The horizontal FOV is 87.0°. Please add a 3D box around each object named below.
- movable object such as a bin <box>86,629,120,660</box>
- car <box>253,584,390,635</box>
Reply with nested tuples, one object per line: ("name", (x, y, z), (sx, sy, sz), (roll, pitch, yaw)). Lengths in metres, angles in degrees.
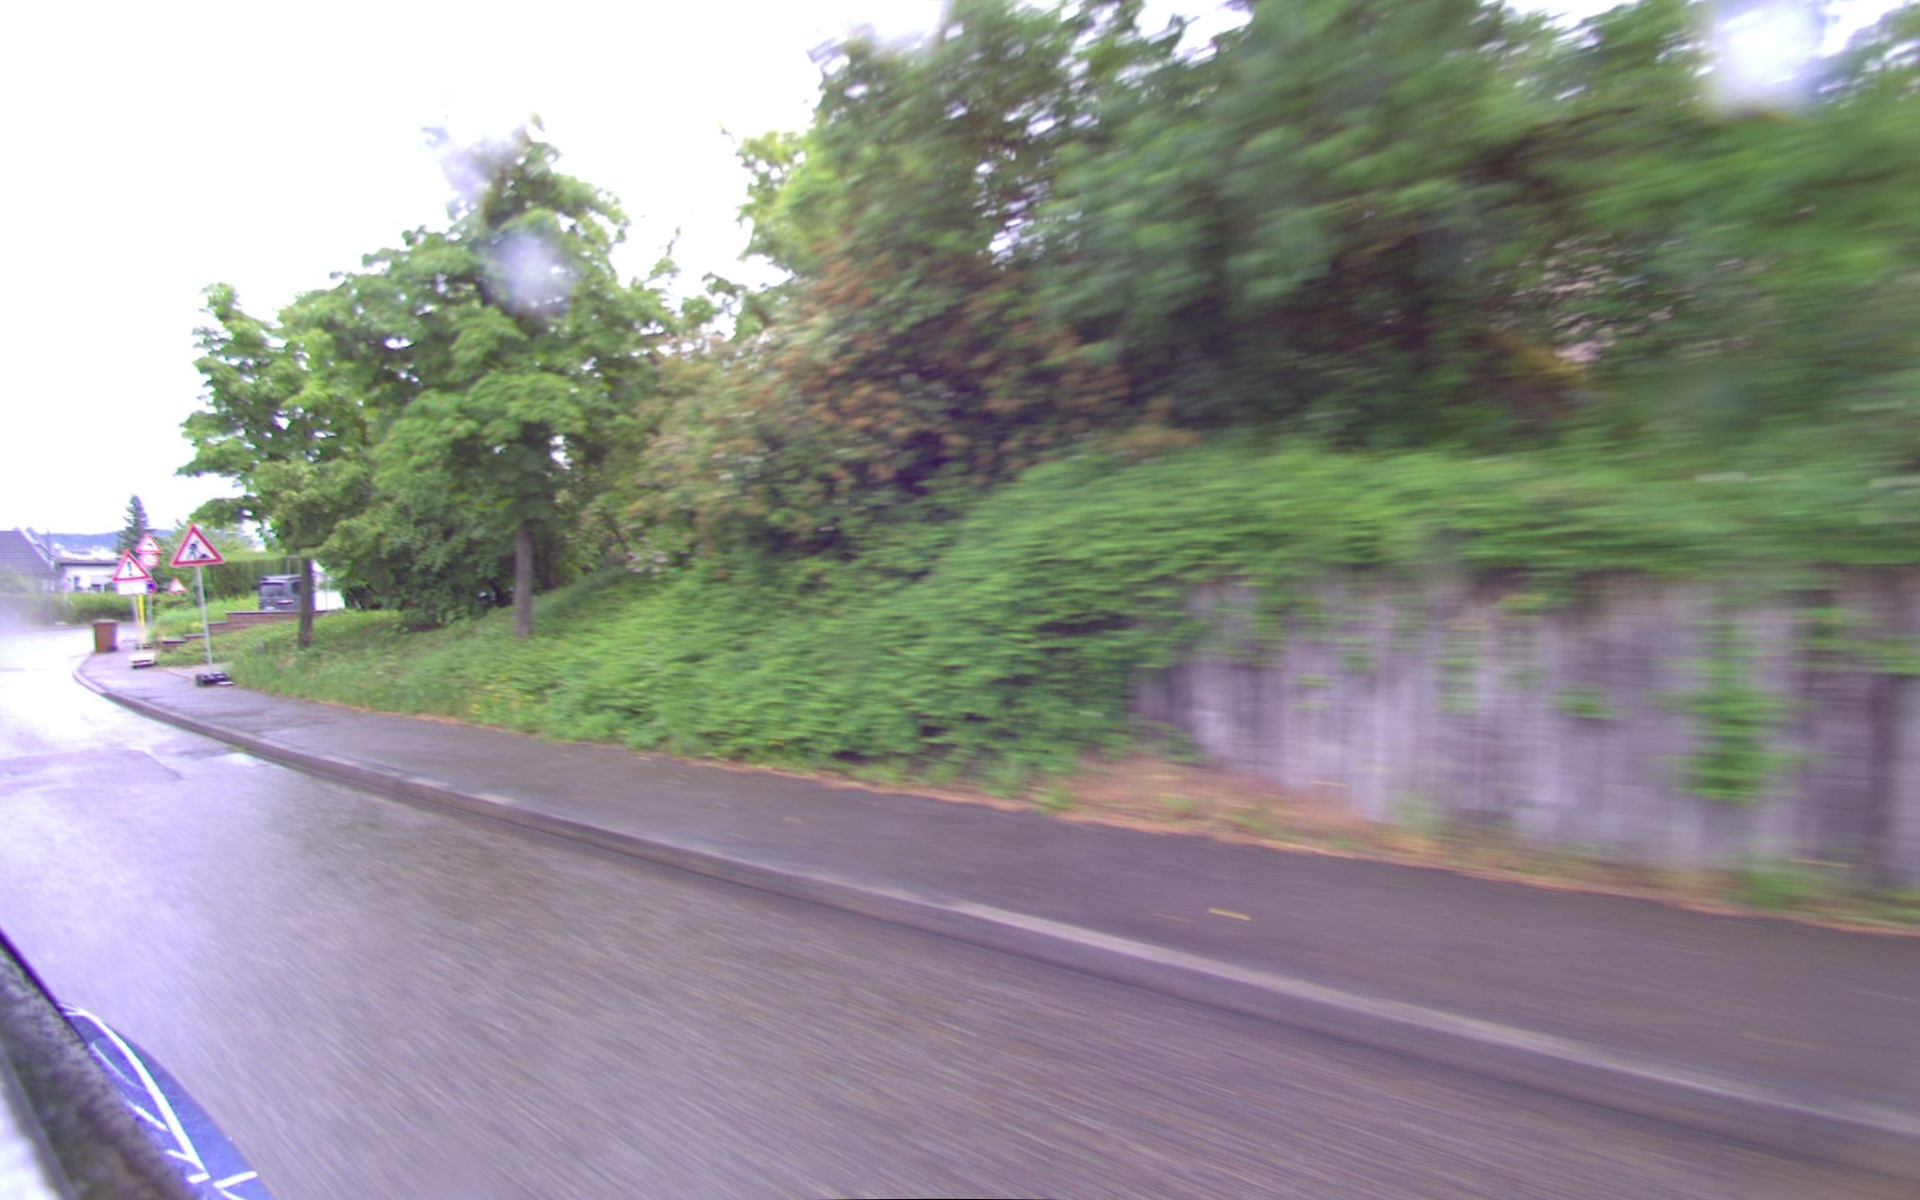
("movable object such as a bin", (-29.248, 1.513, 34.538), (0.869, 1.038, 0.804), (0, -1, -43))
("car", (-23.930, 0.330, 38.016), (1.961, 1.777, 3.949), (-1, 0, 38))
